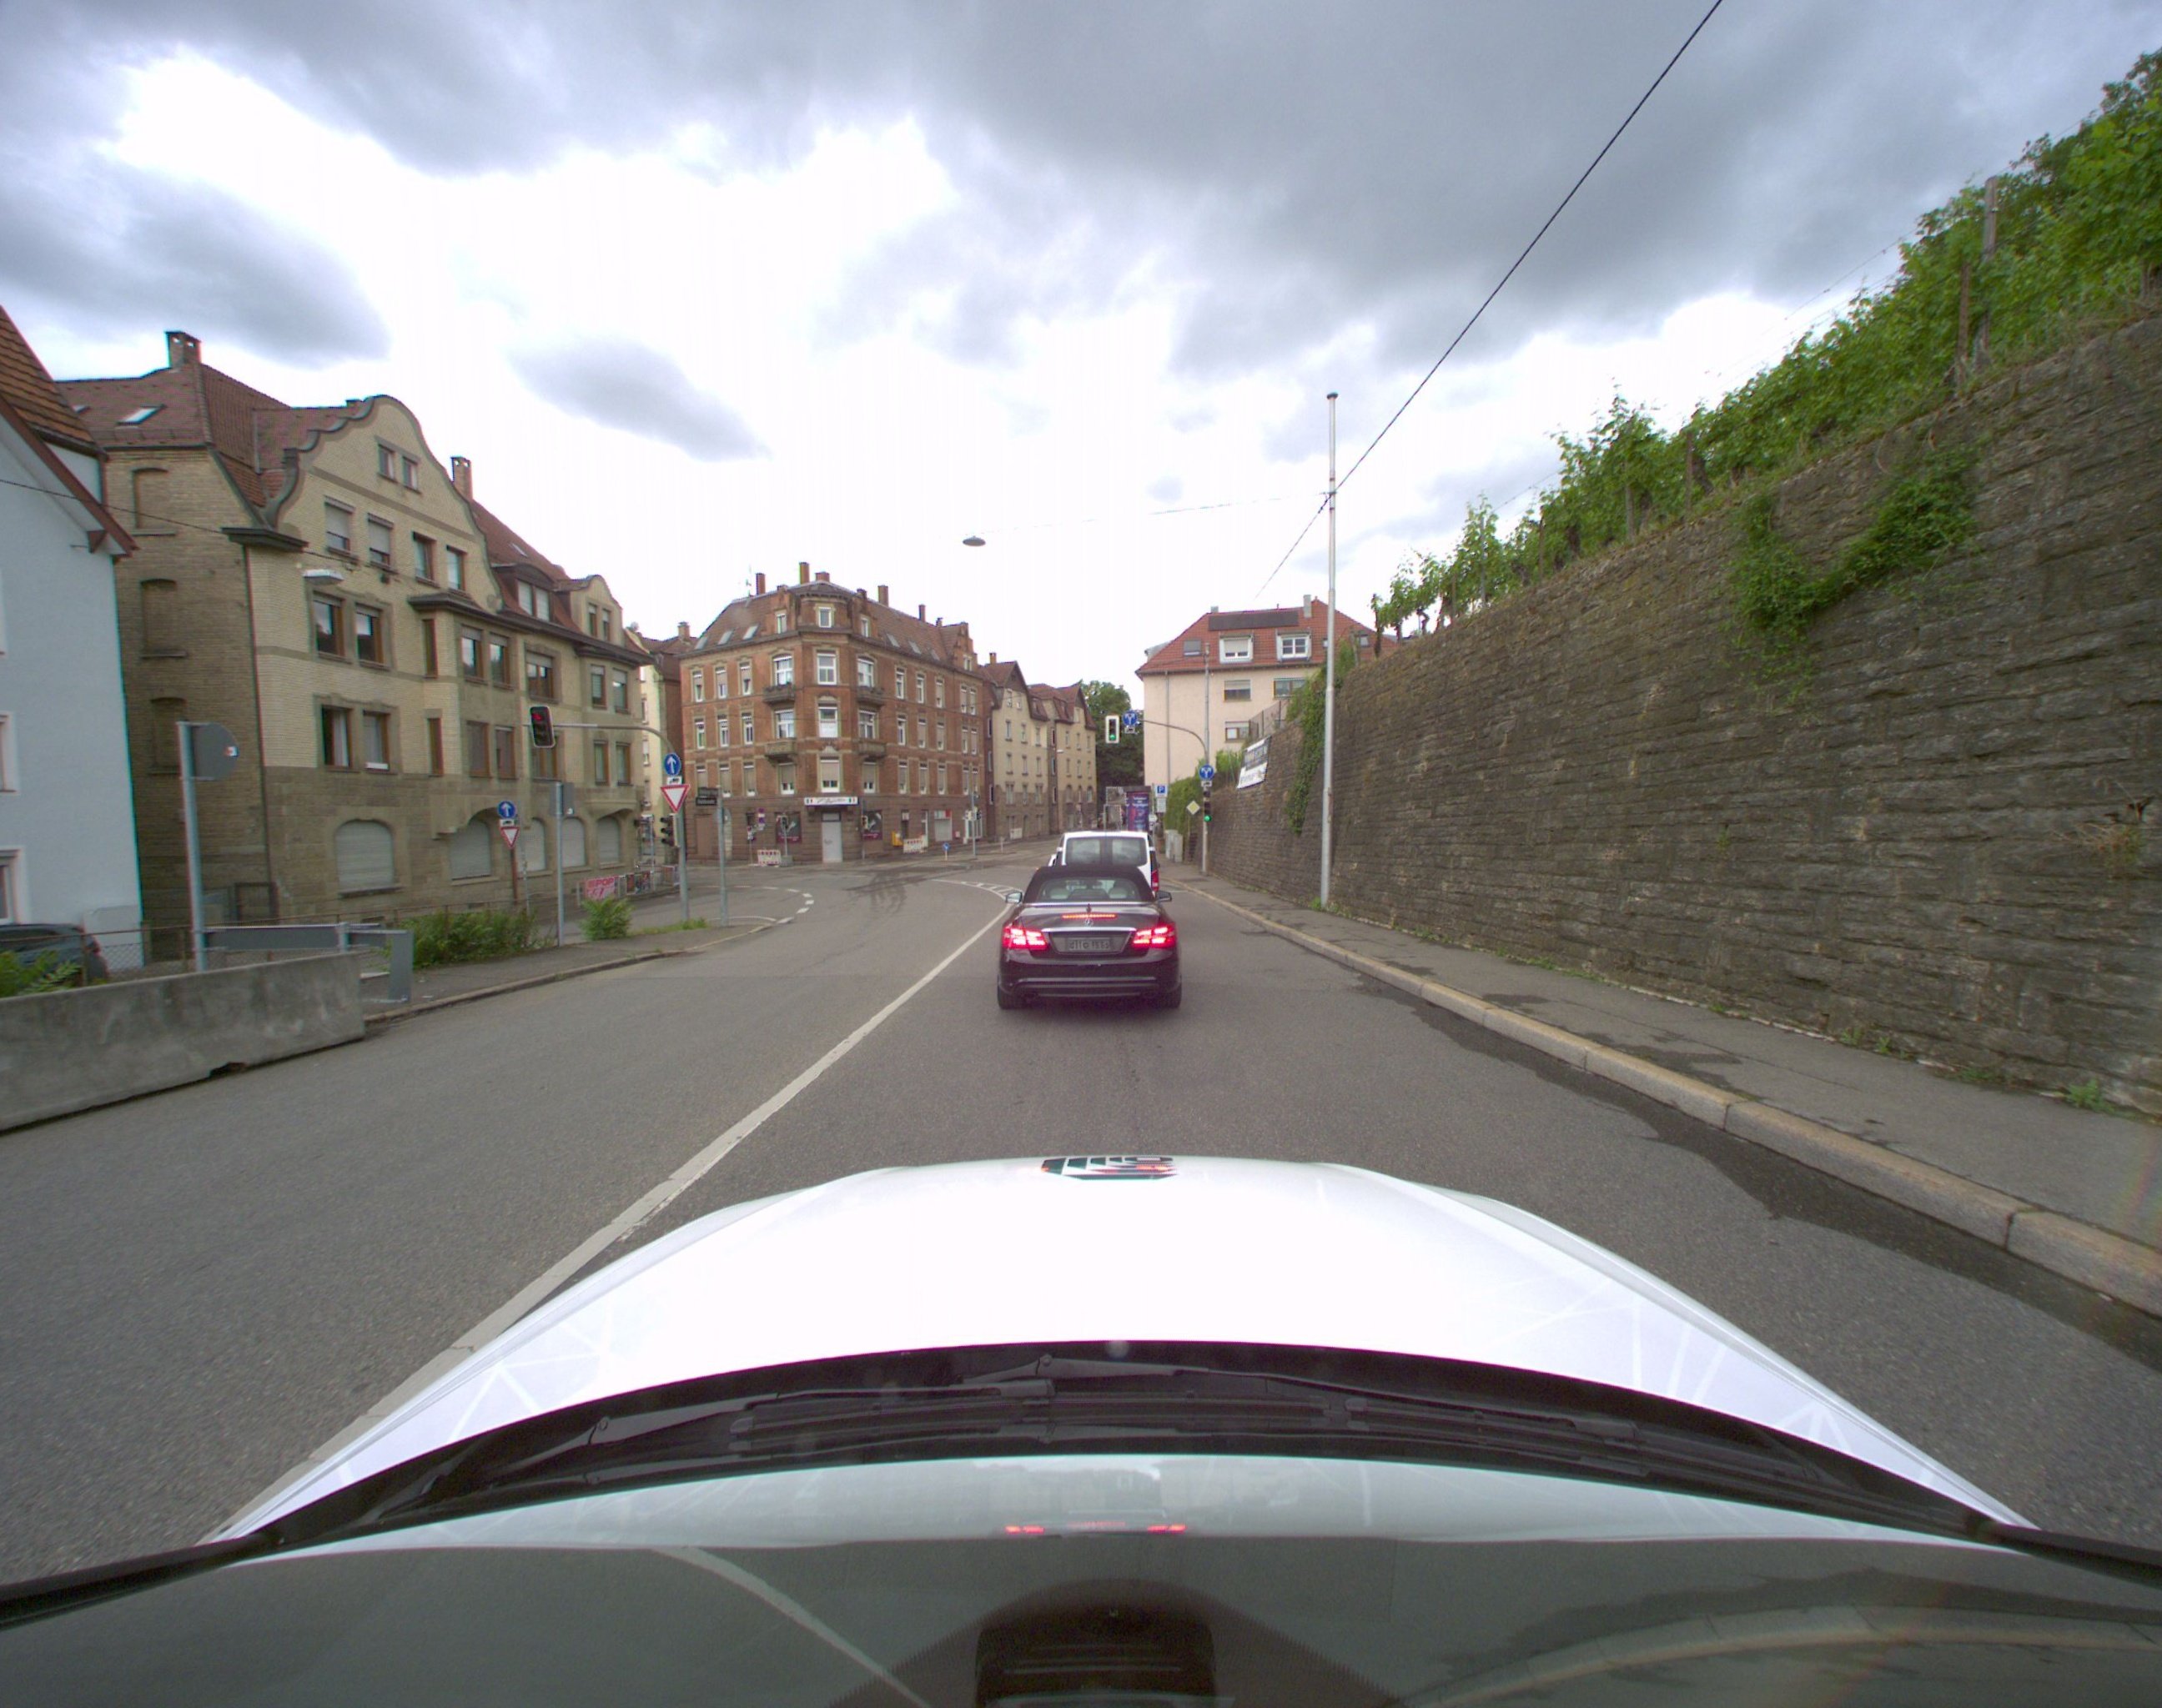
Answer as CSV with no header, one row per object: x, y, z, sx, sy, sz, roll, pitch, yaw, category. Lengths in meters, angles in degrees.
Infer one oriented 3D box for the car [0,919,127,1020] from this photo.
-19.182,2.088,13.462,1.676,1.555,4.235,-3,1,1,car

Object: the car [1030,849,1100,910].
-0.359,0.622,22.120,1.674,1.466,3.920,-1,1,2,car

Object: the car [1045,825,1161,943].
0.438,0.470,15.754,1.884,1.928,4.647,-1,1,2,car

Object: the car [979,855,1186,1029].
0.083,0.760,9.174,1.755,1.409,4.401,-1,1,2,car

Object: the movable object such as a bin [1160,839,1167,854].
5.205,-0.469,51.435,0.343,0.911,0.494,-1,0,-4,movable object such as a bin
